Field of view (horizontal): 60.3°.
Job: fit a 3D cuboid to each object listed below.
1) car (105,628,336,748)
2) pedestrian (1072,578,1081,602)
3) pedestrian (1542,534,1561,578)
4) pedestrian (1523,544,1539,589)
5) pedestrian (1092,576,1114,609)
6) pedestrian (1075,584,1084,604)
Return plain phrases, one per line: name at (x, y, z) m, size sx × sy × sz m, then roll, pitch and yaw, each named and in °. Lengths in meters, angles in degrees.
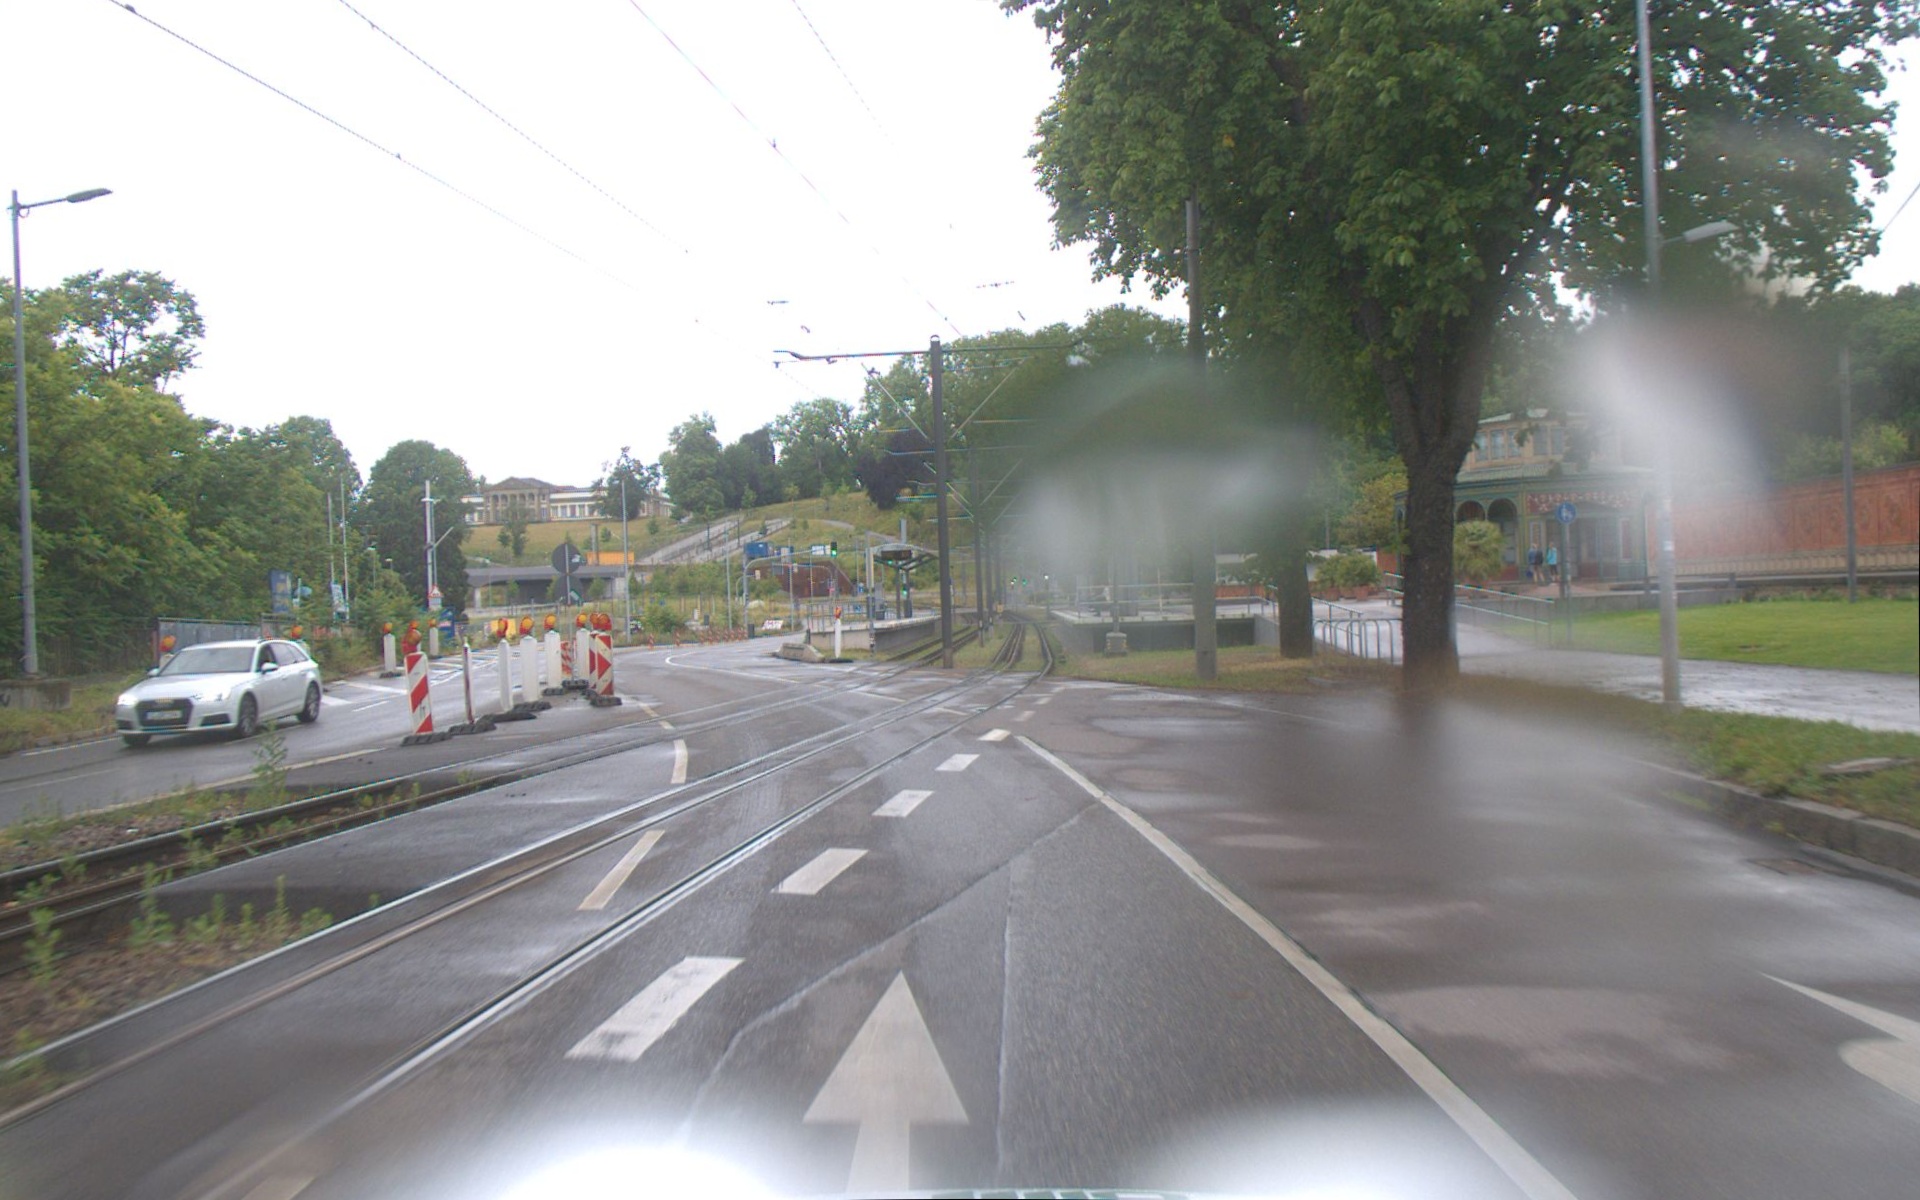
car at (-11.521, 1.306, 26.144) m, size 1.675 × 1.524 × 4.716 m, roll -4°, pitch 0°, yaw -3°
pedestrian at (6.212, -0.533, 88.140) m, size 0.428 × 1.247 × 0.551 m, roll -3°, pitch 0°, yaw 3°
pedestrian at (23.275, -1.725, 65.097) m, size 0.540 × 1.686 × 0.467 m, roll -2°, pitch -1°, yaw 37°
pedestrian at (22.790, -1.329, 66.022) m, size 0.520 × 1.741 × 0.696 m, roll 0°, pitch -2°, yaw 14°
pedestrian at (5.060, -0.248, 58.542) m, size 0.589 × 1.138 × 0.518 m, roll 2°, pitch -1°, yaw -14°
pedestrian at (6.306, -0.300, 87.412) m, size 0.428 × 1.026 × 0.551 m, roll -3°, pitch 0°, yaw 3°
